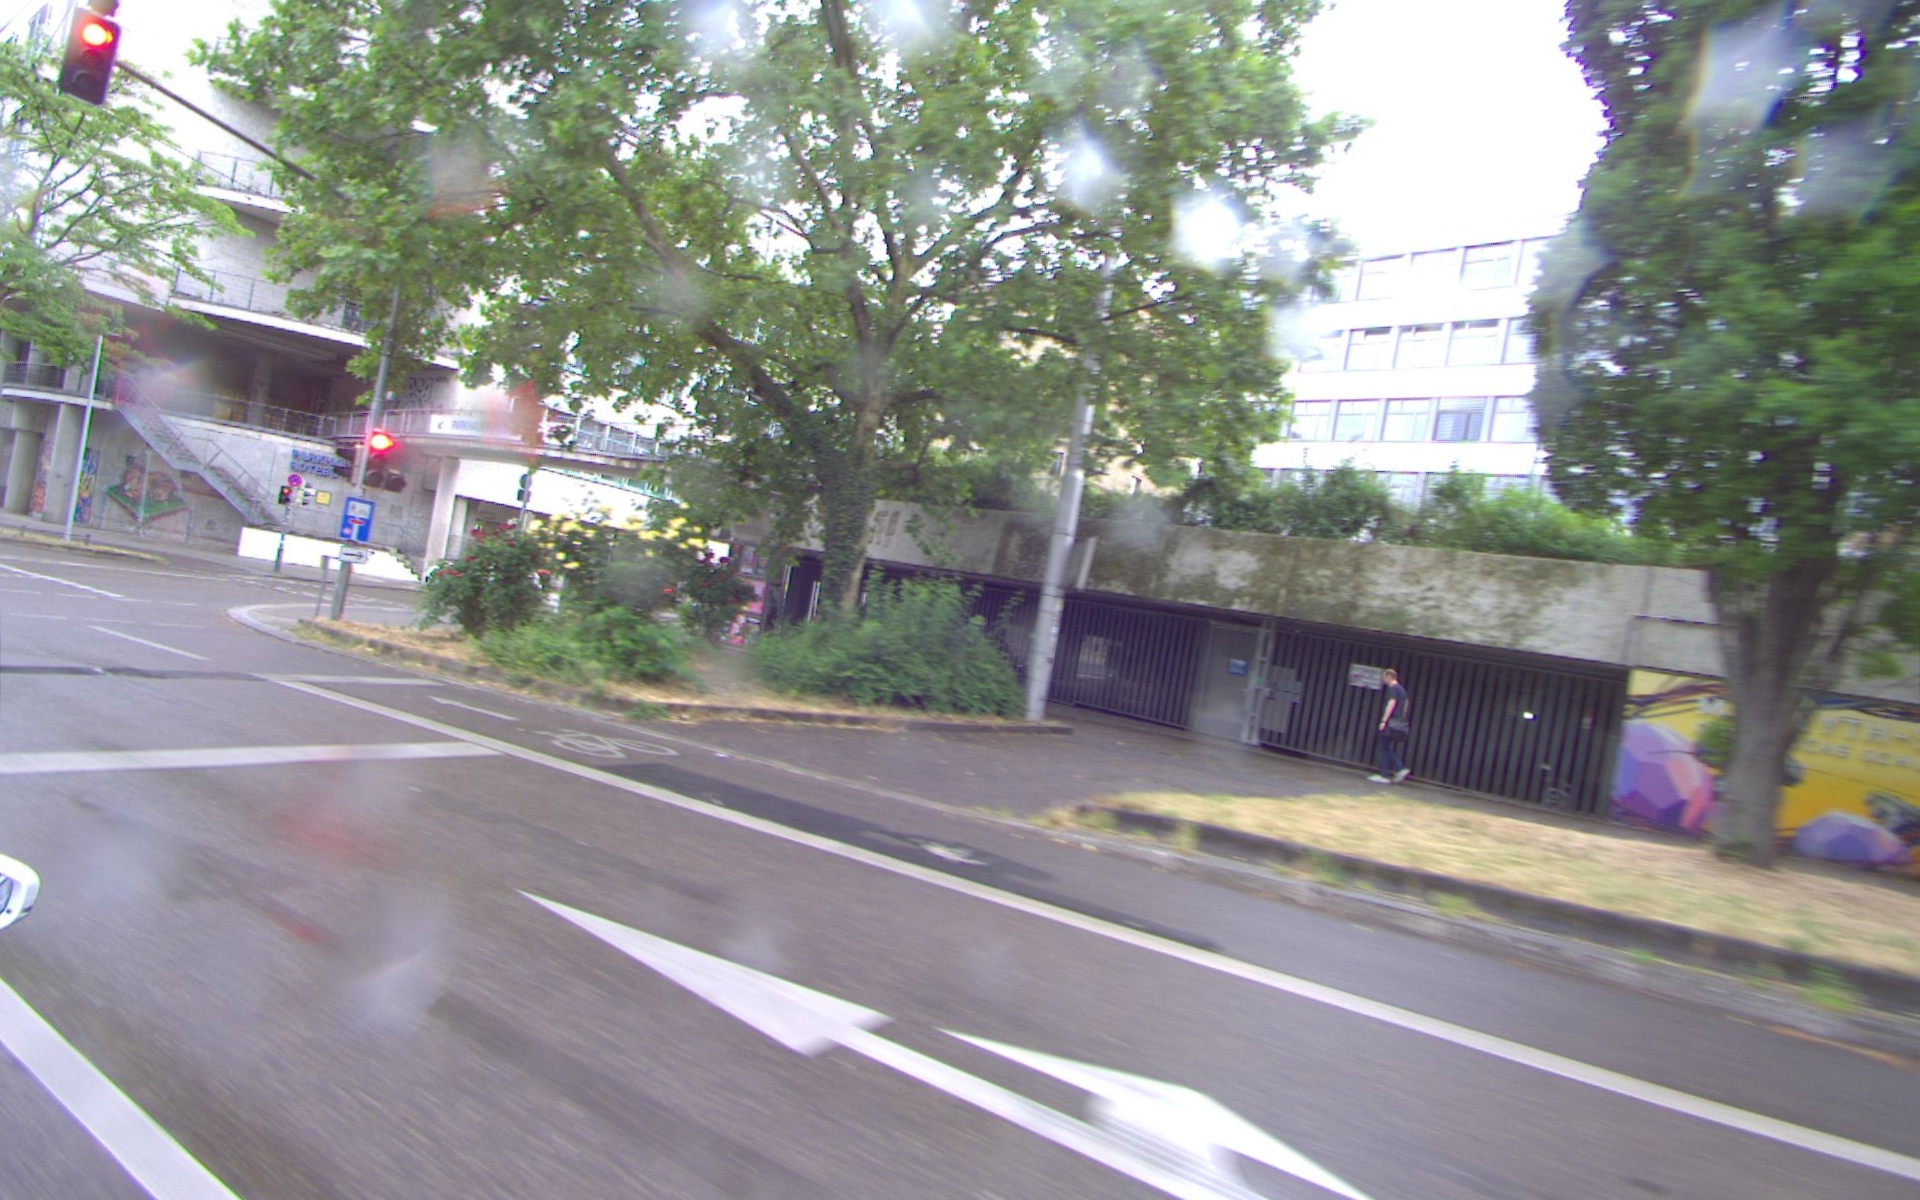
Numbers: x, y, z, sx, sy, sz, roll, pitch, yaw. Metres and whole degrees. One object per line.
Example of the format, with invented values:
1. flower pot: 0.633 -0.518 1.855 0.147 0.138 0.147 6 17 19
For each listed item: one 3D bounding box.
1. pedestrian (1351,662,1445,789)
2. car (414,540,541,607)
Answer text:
1. pedestrian: 7.203 2.043 16.556 1.041 1.887 0.806 7 0 41
2. car: -16.647 -0.846 35.001 1.718 1.702 4.364 8 -3 7
